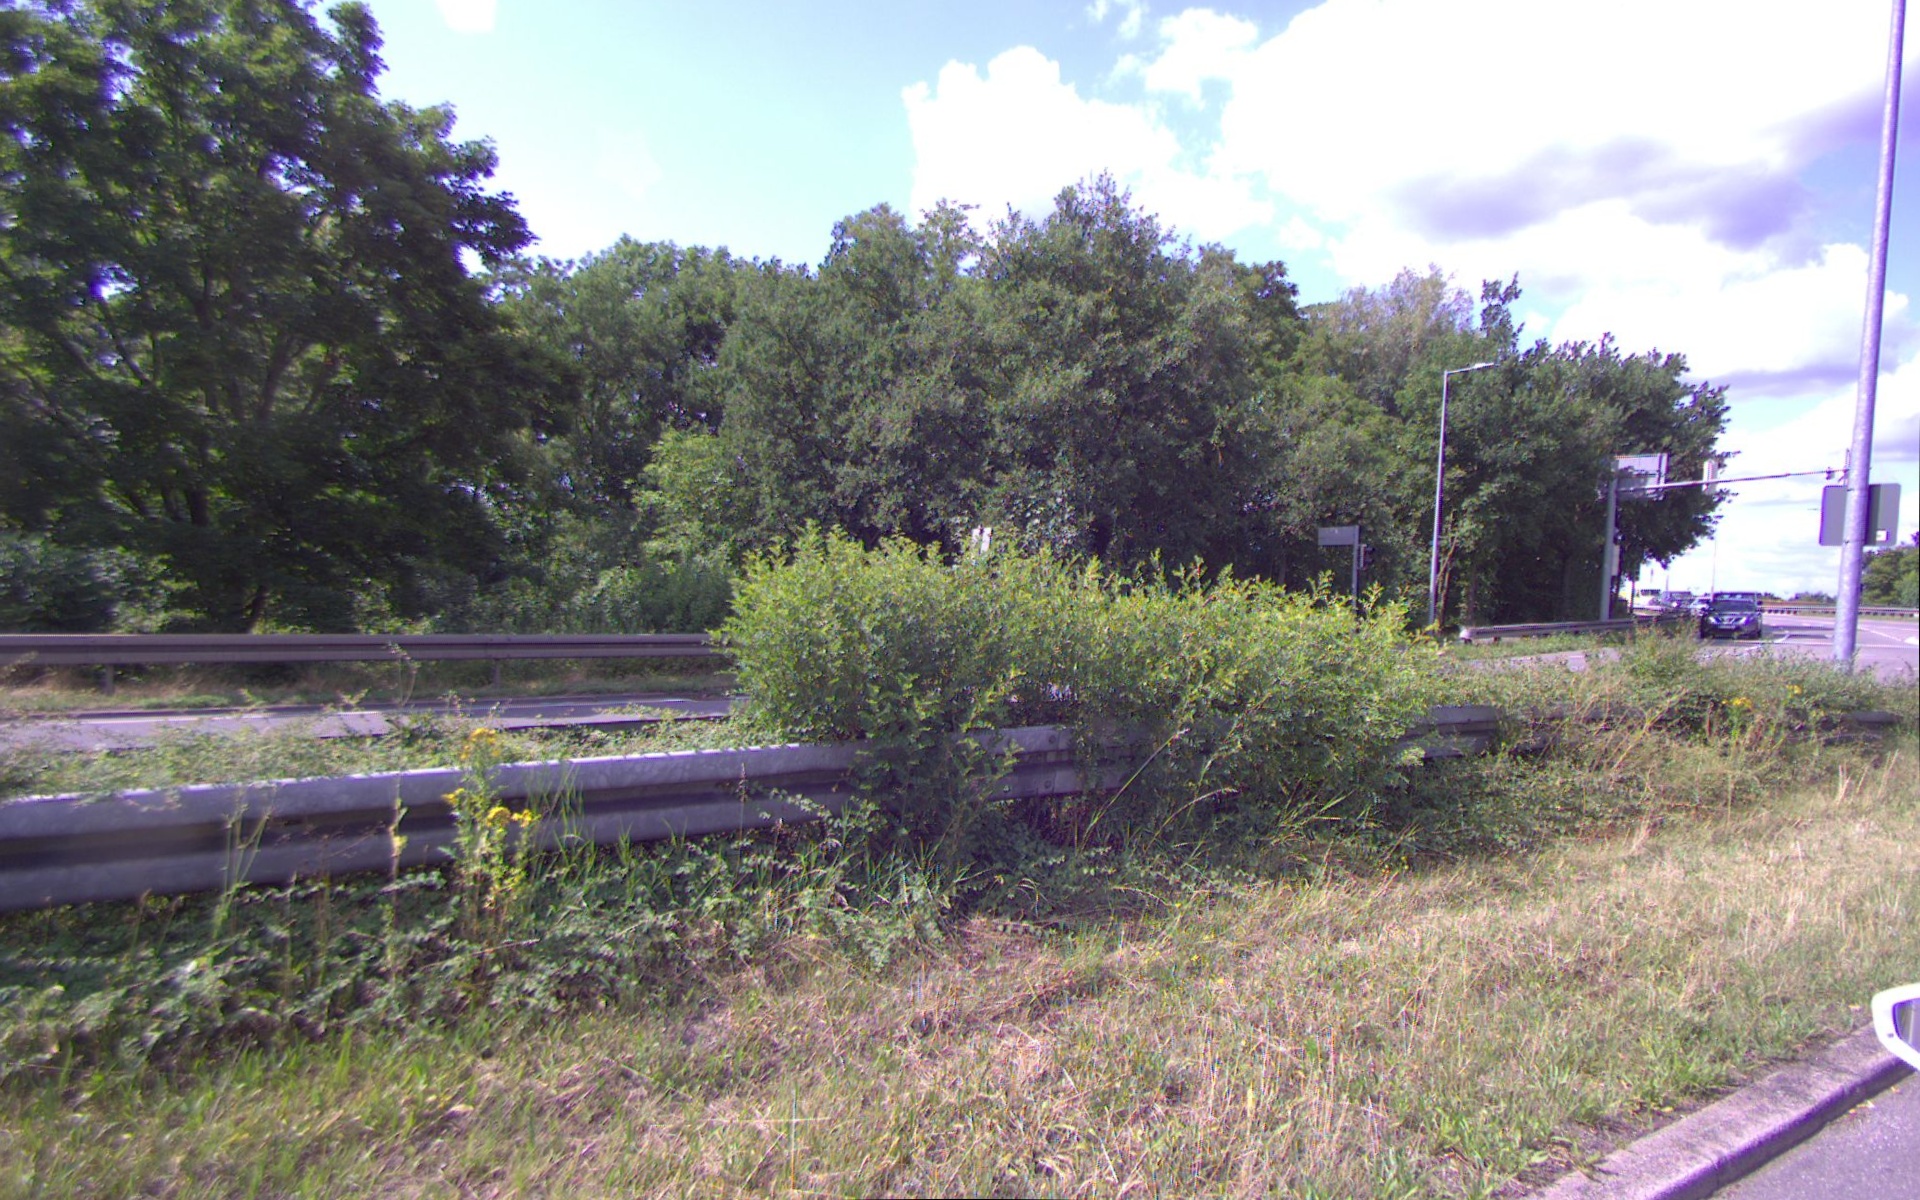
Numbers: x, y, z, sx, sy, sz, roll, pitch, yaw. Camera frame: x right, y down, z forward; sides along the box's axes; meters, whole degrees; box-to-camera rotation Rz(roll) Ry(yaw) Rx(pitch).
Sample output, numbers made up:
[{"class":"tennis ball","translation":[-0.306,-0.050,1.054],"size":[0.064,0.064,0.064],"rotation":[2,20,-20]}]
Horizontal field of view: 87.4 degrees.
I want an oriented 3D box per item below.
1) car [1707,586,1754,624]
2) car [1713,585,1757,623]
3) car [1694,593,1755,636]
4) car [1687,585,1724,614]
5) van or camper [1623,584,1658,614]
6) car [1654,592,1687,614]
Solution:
[{"class":"car","translation":[40.203,0.245,52.385],"size":[1.820,1.826,4.307],"rotation":[2,1,39]},{"class":"car","translation":[45.096,0.225,58.531],"size":[1.819,2.128,4.311],"rotation":[2,1,36]},{"class":"car","translation":[30.961,0.610,40.659],"size":[1.816,1.639,3.983],"rotation":[2,0,39]},{"class":"car","translation":[53.252,-0.038,71.784],"size":[1.818,2.005,4.314],"rotation":[2,1,33]},{"class":"van or camper","translation":[64.866,-0.109,95.826],"size":[1.963,2.719,6.852],"rotation":[2,1,28]},{"class":"car","translation":[58.067,0.251,82.127],"size":[1.817,1.728,4.316],"rotation":[2,1,32]}]
